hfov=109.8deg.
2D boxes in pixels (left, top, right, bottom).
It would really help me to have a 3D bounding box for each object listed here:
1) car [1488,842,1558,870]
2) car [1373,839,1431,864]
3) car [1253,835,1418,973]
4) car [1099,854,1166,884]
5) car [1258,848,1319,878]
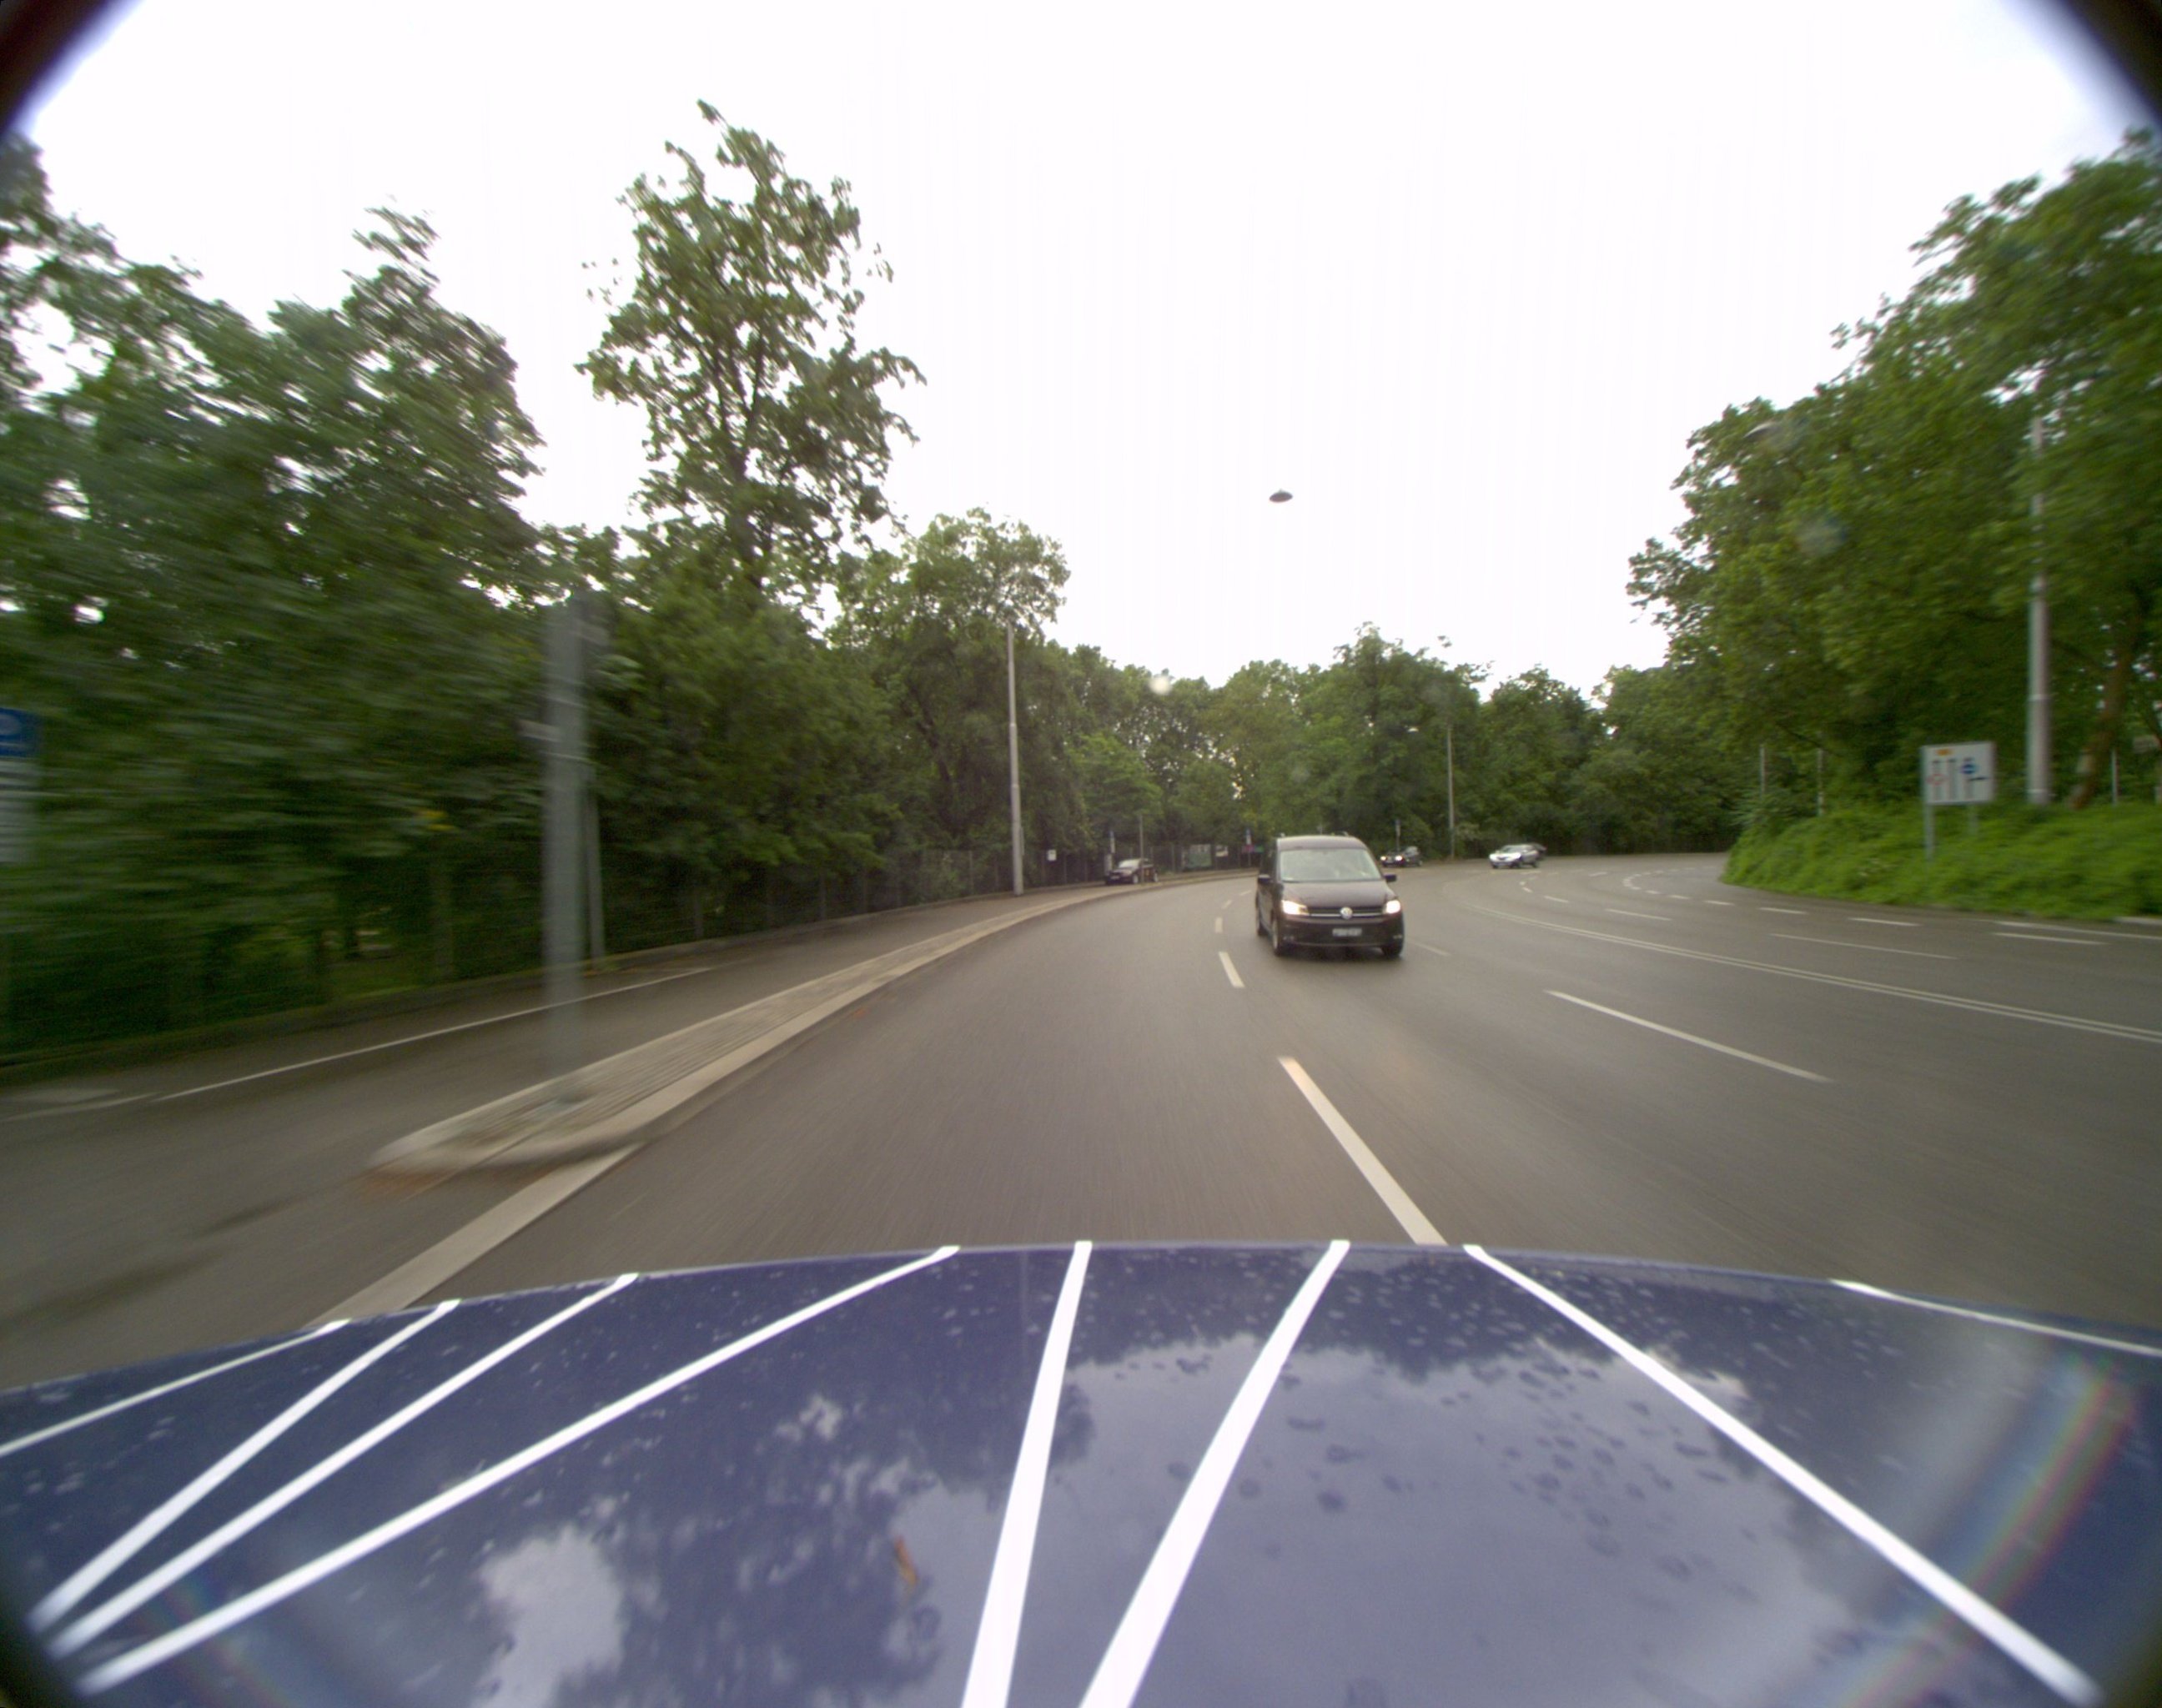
[{"bbox_3d":[30.244,0.140,51.988,4.661,1.735,1.995,-2,1,-29],"label":"car"},{"bbox_3d":[23.657,-0.186,56.013,4.006,1.735,1.995,-2,1,-32],"label":"car"},{"bbox_3d":[3.791,0.641,12.027,1.794,1.789,4.127,-1,1,9],"label":"car"},{"bbox_3d":[2.875,0.817,41.898,1.874,1.368,4.182,-6,-2,31],"label":"car"},{"bbox_3d":[11.031,0.455,40.193,1.791,1.444,4.008,-1,1,36],"label":"car"}]
